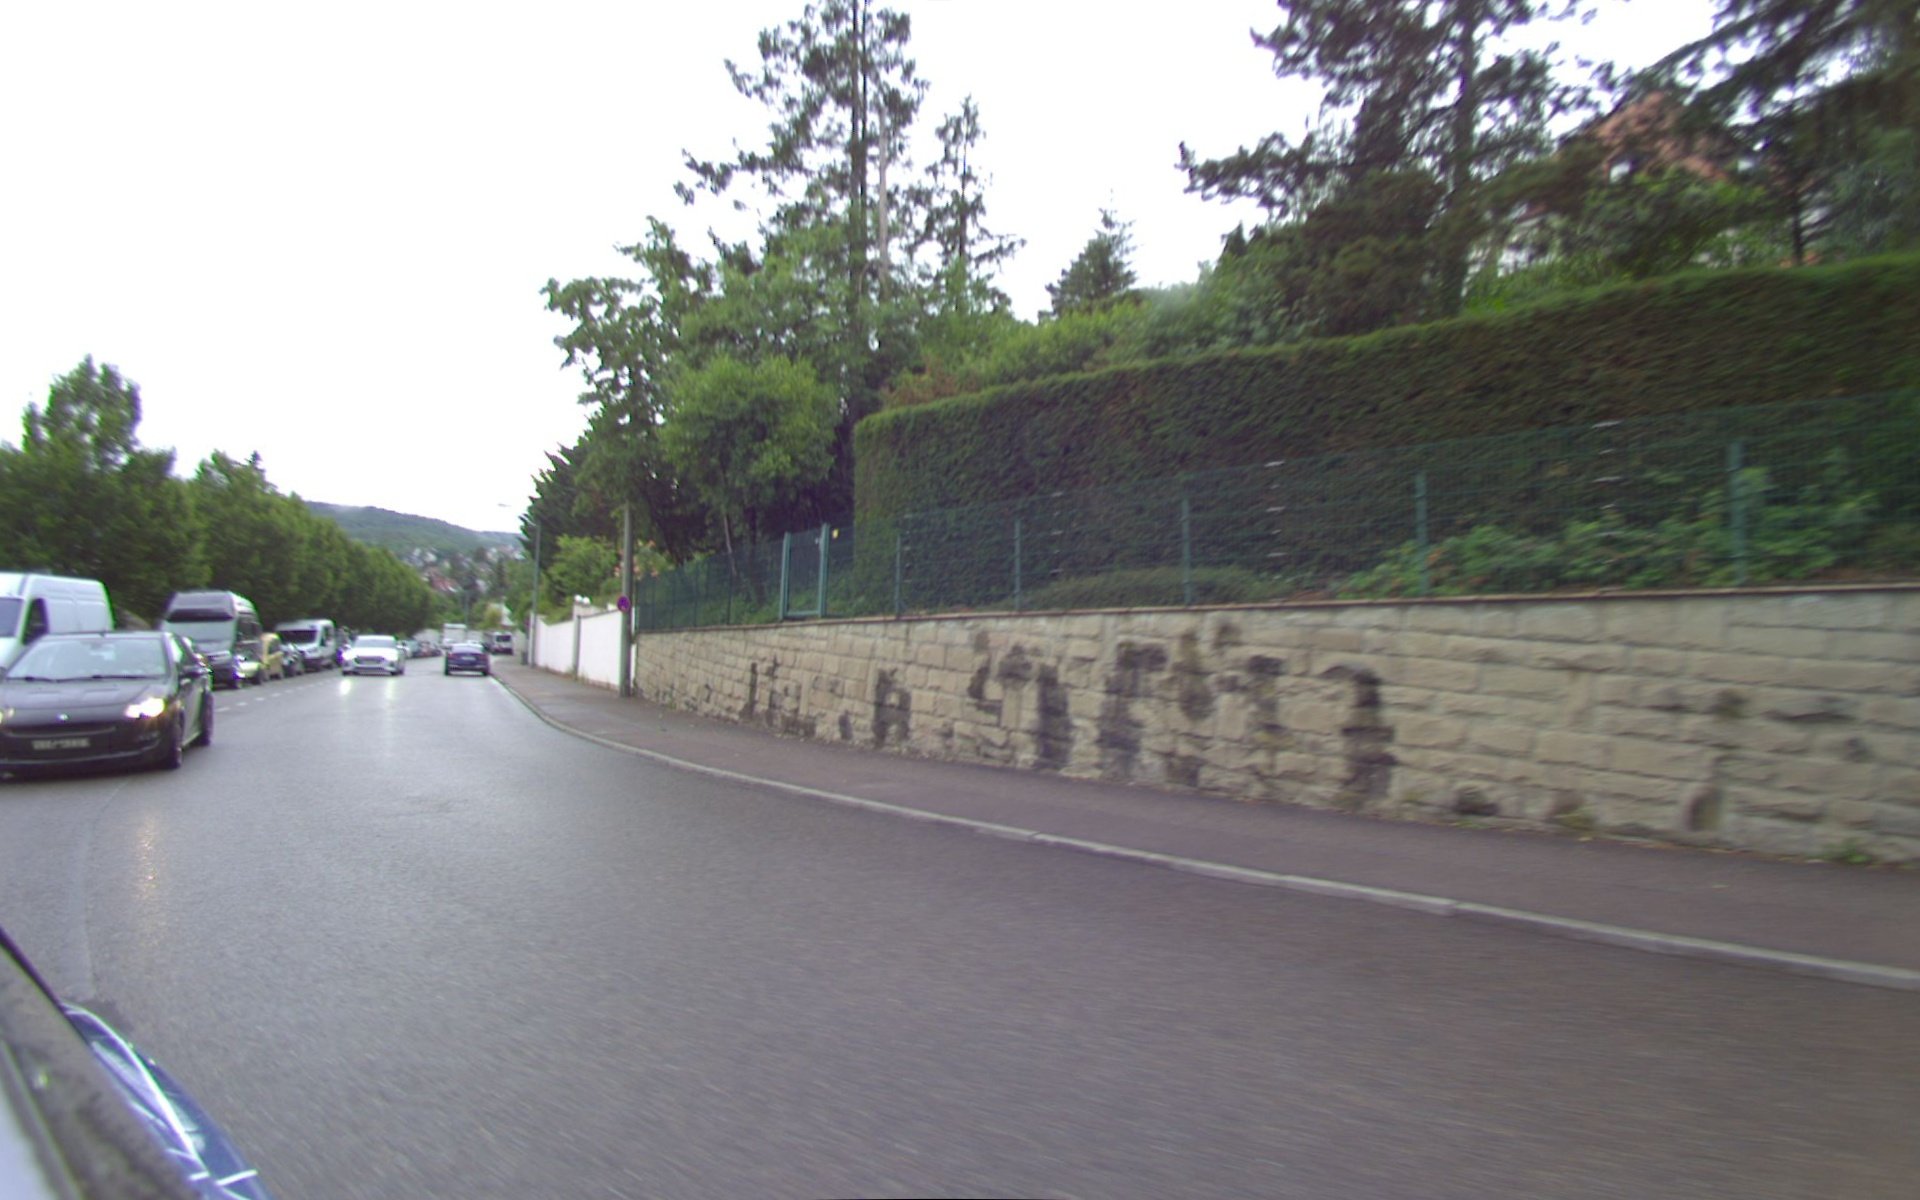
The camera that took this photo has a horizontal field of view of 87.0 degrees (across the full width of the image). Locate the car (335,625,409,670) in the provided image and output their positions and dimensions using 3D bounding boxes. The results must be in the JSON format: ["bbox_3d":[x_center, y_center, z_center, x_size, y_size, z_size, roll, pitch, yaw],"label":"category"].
[{"bbox_3d":[-24.067,1.919,41.624,2.154,1.721,4.898,1,-2,-25],"label":"car"}]

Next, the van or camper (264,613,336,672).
[{"bbox_3d":[-31.169,2.015,47.957,2.134,2.575,5.633,-1,-2,-26],"label":"van or camper"}]

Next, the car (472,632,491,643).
[{"bbox_3d":[-63.763,4.980,134.852,1.820,1.509,3.778,2,-2,-32],"label":"car"}]

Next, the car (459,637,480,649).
[{"bbox_3d":[-68.112,5.951,140.524,1.822,1.509,3.775,3,-4,-38],"label":"car"}]

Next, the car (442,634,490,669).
[{"bbox_3d":[-22.190,2.291,45.416,1.782,1.441,4.267,3,-4,-26],"label":"car"}]

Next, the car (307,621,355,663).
[{"bbox_3d":[-34.494,2.297,55.554,1.696,2.155,4.417,-1,-2,-25],"label":"car"}]

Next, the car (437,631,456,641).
[{"bbox_3d":[-76.105,5.362,150.040,1.822,1.509,3.775,2,-2,-38],"label":"car"}]

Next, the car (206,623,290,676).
[{"bbox_3d":[-25.748,1.769,36.730,1.696,1.762,4.417,-1,-2,-25],"label":"car"}]

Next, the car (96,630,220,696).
[{"bbox_3d":[-20.207,1.550,25.659,1.658,1.552,3.845,1,-3,-26],"label":"car"}]

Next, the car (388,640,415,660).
[{"bbox_3d":[-47.881,4.262,86.850,1.696,1.641,4.417,-1,-2,-25],"label":"car"}]

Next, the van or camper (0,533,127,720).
[{"bbox_3d":[-15.870,0.481,16.619,2.044,2.681,5.614,1,-3,-26],"label":"van or camper"}]

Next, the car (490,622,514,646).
[{"bbox_3d":[-50.877,3.833,112.420,2.074,2.501,4.579,3,-4,-21],"label":"car"}]

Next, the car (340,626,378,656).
[{"bbox_3d":[-39.810,2.743,67.124,1.696,1.869,4.417,-1,-2,-25],"label":"car"}]

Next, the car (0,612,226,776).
[{"bbox_3d":[-9.554,0.950,11.388,1.755,1.497,4.418,3,-3,-32],"label":"car"}]

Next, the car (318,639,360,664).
[{"bbox_3d":[-38.152,3.174,62.291,1.696,1.446,4.339,-1,-2,-25],"label":"car"}]

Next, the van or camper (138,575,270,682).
[{"bbox_3d":[-22.828,0.899,30.832,2.094,2.932,5.746,0,-2,-26],"label":"van or camper"}]

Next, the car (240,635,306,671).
[{"bbox_3d":[-28.379,2.165,41.919,1.696,1.385,4.417,0,-2,-27],"label":"car"}]
